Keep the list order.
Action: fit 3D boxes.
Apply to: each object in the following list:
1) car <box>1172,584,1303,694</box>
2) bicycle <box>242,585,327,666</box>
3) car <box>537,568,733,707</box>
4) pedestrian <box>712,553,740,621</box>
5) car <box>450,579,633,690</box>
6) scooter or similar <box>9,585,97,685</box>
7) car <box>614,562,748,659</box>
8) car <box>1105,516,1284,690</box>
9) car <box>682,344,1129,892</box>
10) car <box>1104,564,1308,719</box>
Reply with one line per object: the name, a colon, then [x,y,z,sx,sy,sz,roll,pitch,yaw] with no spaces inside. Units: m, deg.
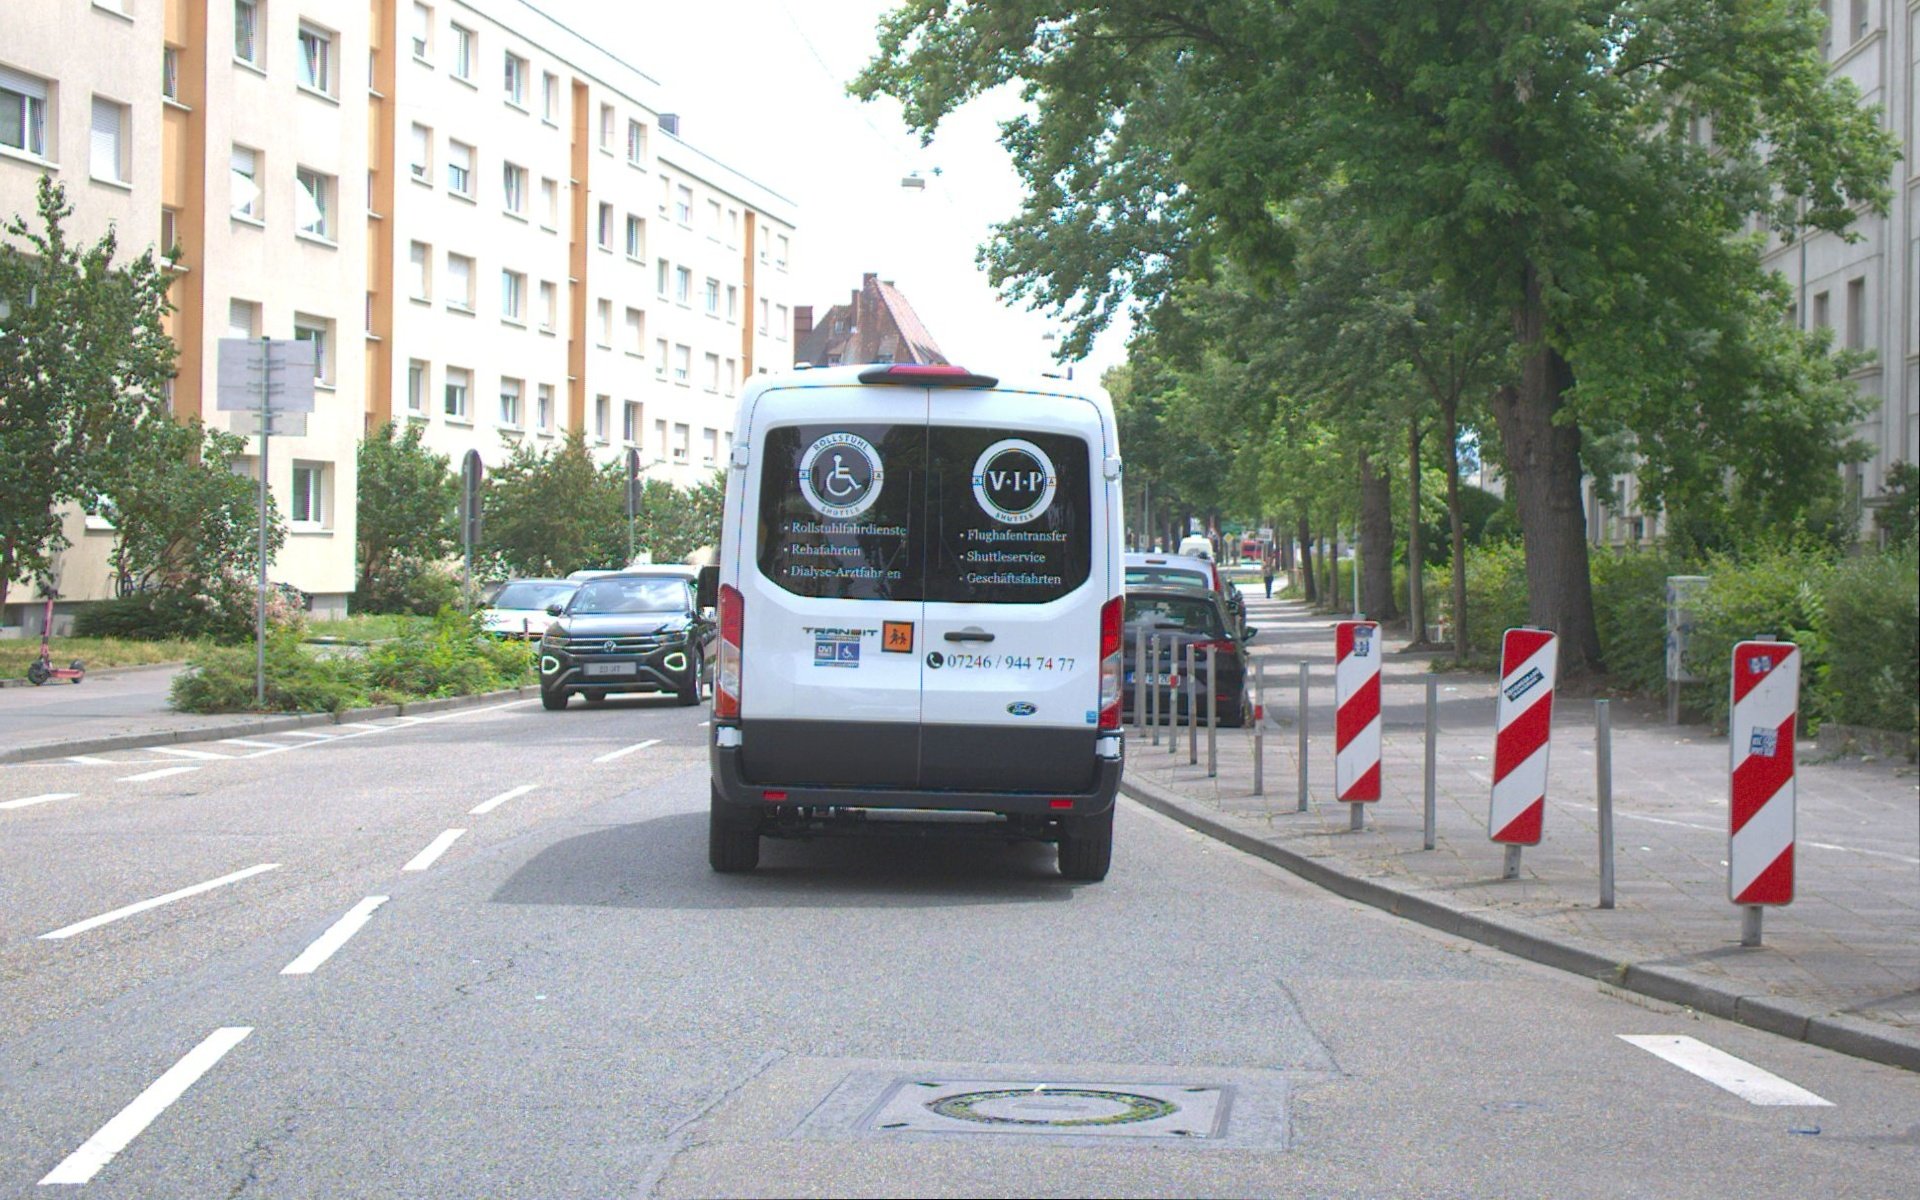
car: [3.918,0.525,49.039,1.697,1.445,4.101,1,1,3]
bicycle: [-10.971,0.407,55.887,0.579,1.247,1.932,1,1,15]
car: [-3.730,0.401,40.067,1.697,1.513,4.000,0,1,3]
pedestrian: [-6.245,-0.347,91.793,0.619,1.807,0.899,2,0,2]
car: [-5.935,0.459,49.153,1.709,1.468,3.988,2,1,6]
scooter or similar: [-11.092,0.420,42.070,0.402,1.189,1.289,2,1,16]
car: [-4.951,0.161,61.528,1.697,1.607,4.476,2,1,4]
car: [2.833,0.015,40.665,1.918,1.859,4.845,2,1,5]
car: [-0.163,0.083,18.253,2.070,2.532,4.634,0,0,2]
car: [2.545,0.383,35.014,1.918,1.439,4.238,1,0,5]
